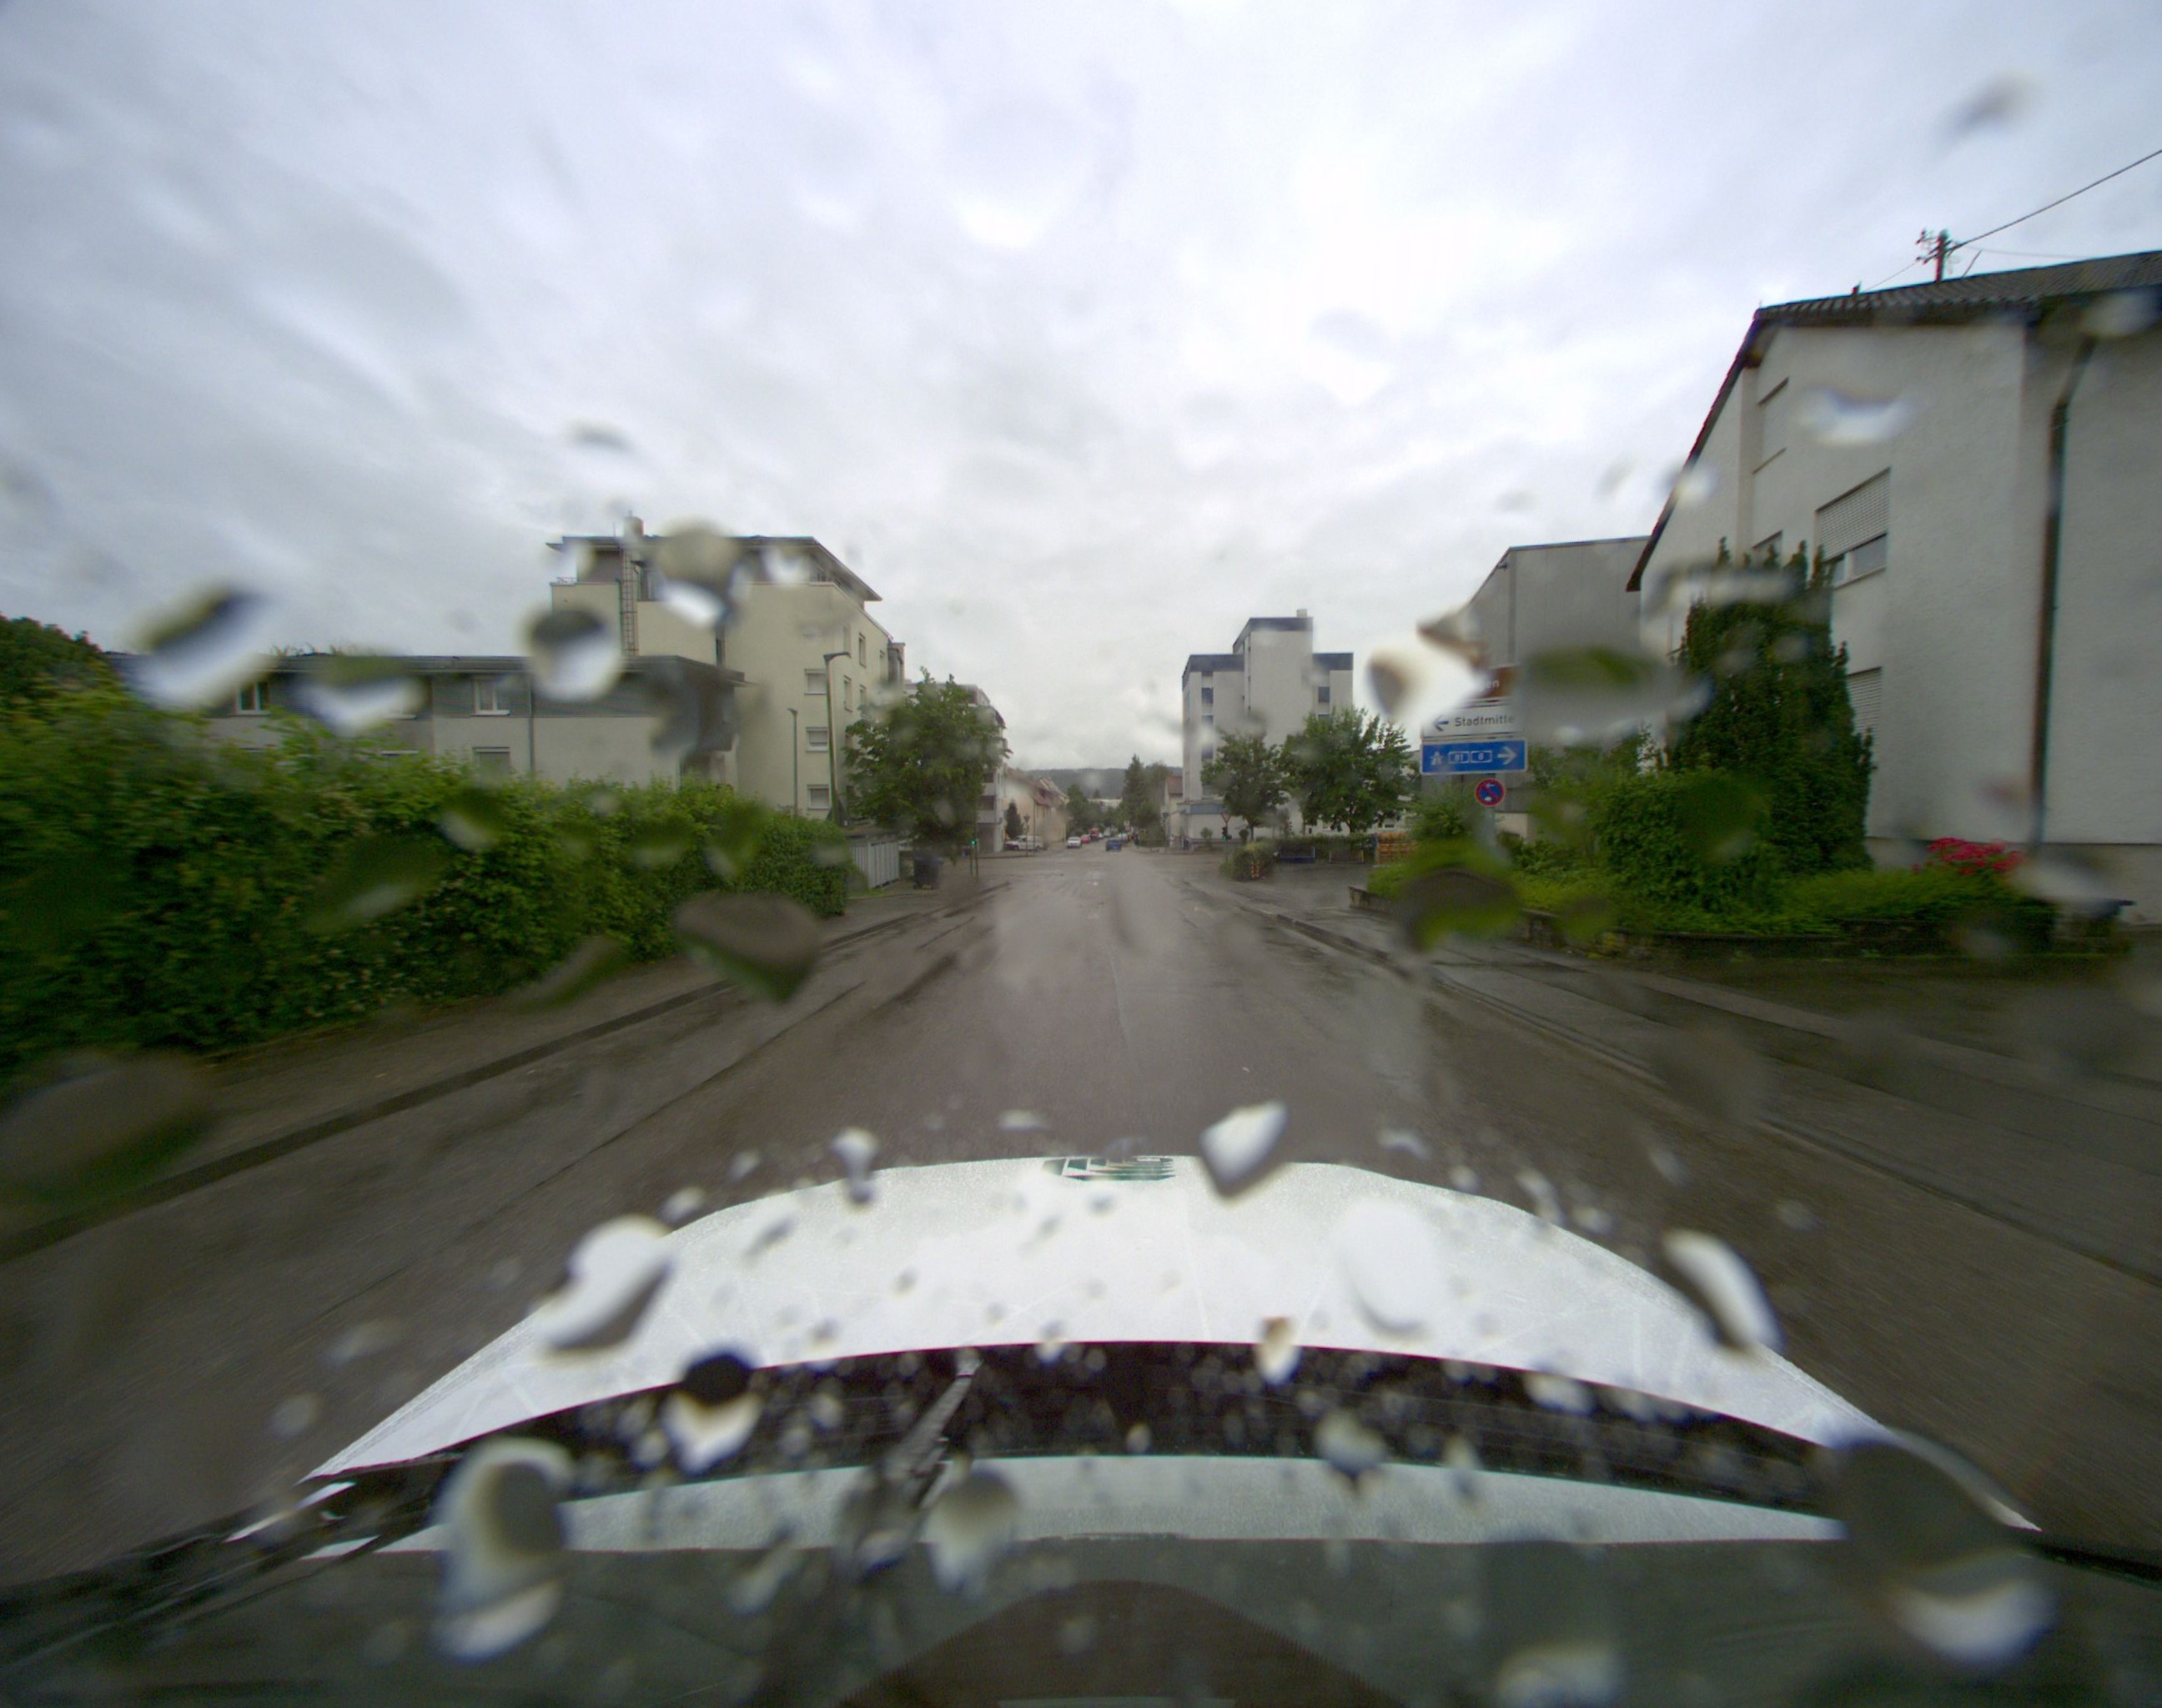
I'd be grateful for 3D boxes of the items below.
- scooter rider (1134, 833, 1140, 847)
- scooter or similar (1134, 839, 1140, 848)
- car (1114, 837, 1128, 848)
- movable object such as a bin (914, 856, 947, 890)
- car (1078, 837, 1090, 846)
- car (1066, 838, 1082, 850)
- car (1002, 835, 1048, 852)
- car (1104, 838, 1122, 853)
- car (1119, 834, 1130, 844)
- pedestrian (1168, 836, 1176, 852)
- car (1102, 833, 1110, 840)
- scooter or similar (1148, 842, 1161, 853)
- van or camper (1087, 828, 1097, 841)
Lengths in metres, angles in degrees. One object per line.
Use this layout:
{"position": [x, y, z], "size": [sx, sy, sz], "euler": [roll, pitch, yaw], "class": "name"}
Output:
{"position": [7.591, -1.912, 110.580], "size": [0.749, 1.795, 0.673], "euler": [-2, 1, 2], "class": "scooter rider"}
{"position": [7.600, -1.423, 110.652], "size": [0.754, 1.171, 1.316], "euler": [-2, 1, 3], "class": "scooter or similar"}
{"position": [6.187, -1.751, 127.113], "size": [2.137, 1.589, 4.131], "euler": [-2, 1, 2], "class": "car"}
{"position": [-6.214, 0.774, 33.710], "size": [1.068, 1.347, 1.318], "euler": [1, 0, -1], "class": "movable object such as a bin"}
{"position": [0.592, -2.350, 150.392], "size": [1.894, 1.558, 4.195], "euler": [-2, 1, 2], "class": "car"}
{"position": [-0.893, -1.415, 113.942], "size": [1.986, 1.625, 4.195], "euler": [-2, 1, 2], "class": "car"}
{"position": [-6.427, -1.182, 93.744], "size": [4.866, 1.835, 1.978], "euler": [-3, 1, -37], "class": "car"}
{"position": [3.803, -1.029, 97.201], "size": [1.987, 1.683, 4.000], "euler": [-2, 1, 0], "class": "car"}
{"position": [7.919, -2.815, 149.383], "size": [1.894, 1.745, 4.195], "euler": [-2, 1, 2], "class": "car"}
{"position": [9.565, -1.030, 85.658], "size": [0.646, 1.647, 0.525], "euler": [2, 0, -5], "class": "pedestrian"}
{"position": [6.194, -4.380, 200.542], "size": [1.894, 1.558, 4.195], "euler": [-2, 1, 2], "class": "car"}
{"position": [7.622, -0.645, 84.415], "size": [1.265, 1.081, 0.876], "euler": [-2, 1, -3], "class": "scooter or similar"}
{"position": [2.291, -4.146, 172.905], "size": [1.894, 2.513, 4.242], "euler": [-2, 1, 2], "class": "van or camper"}
